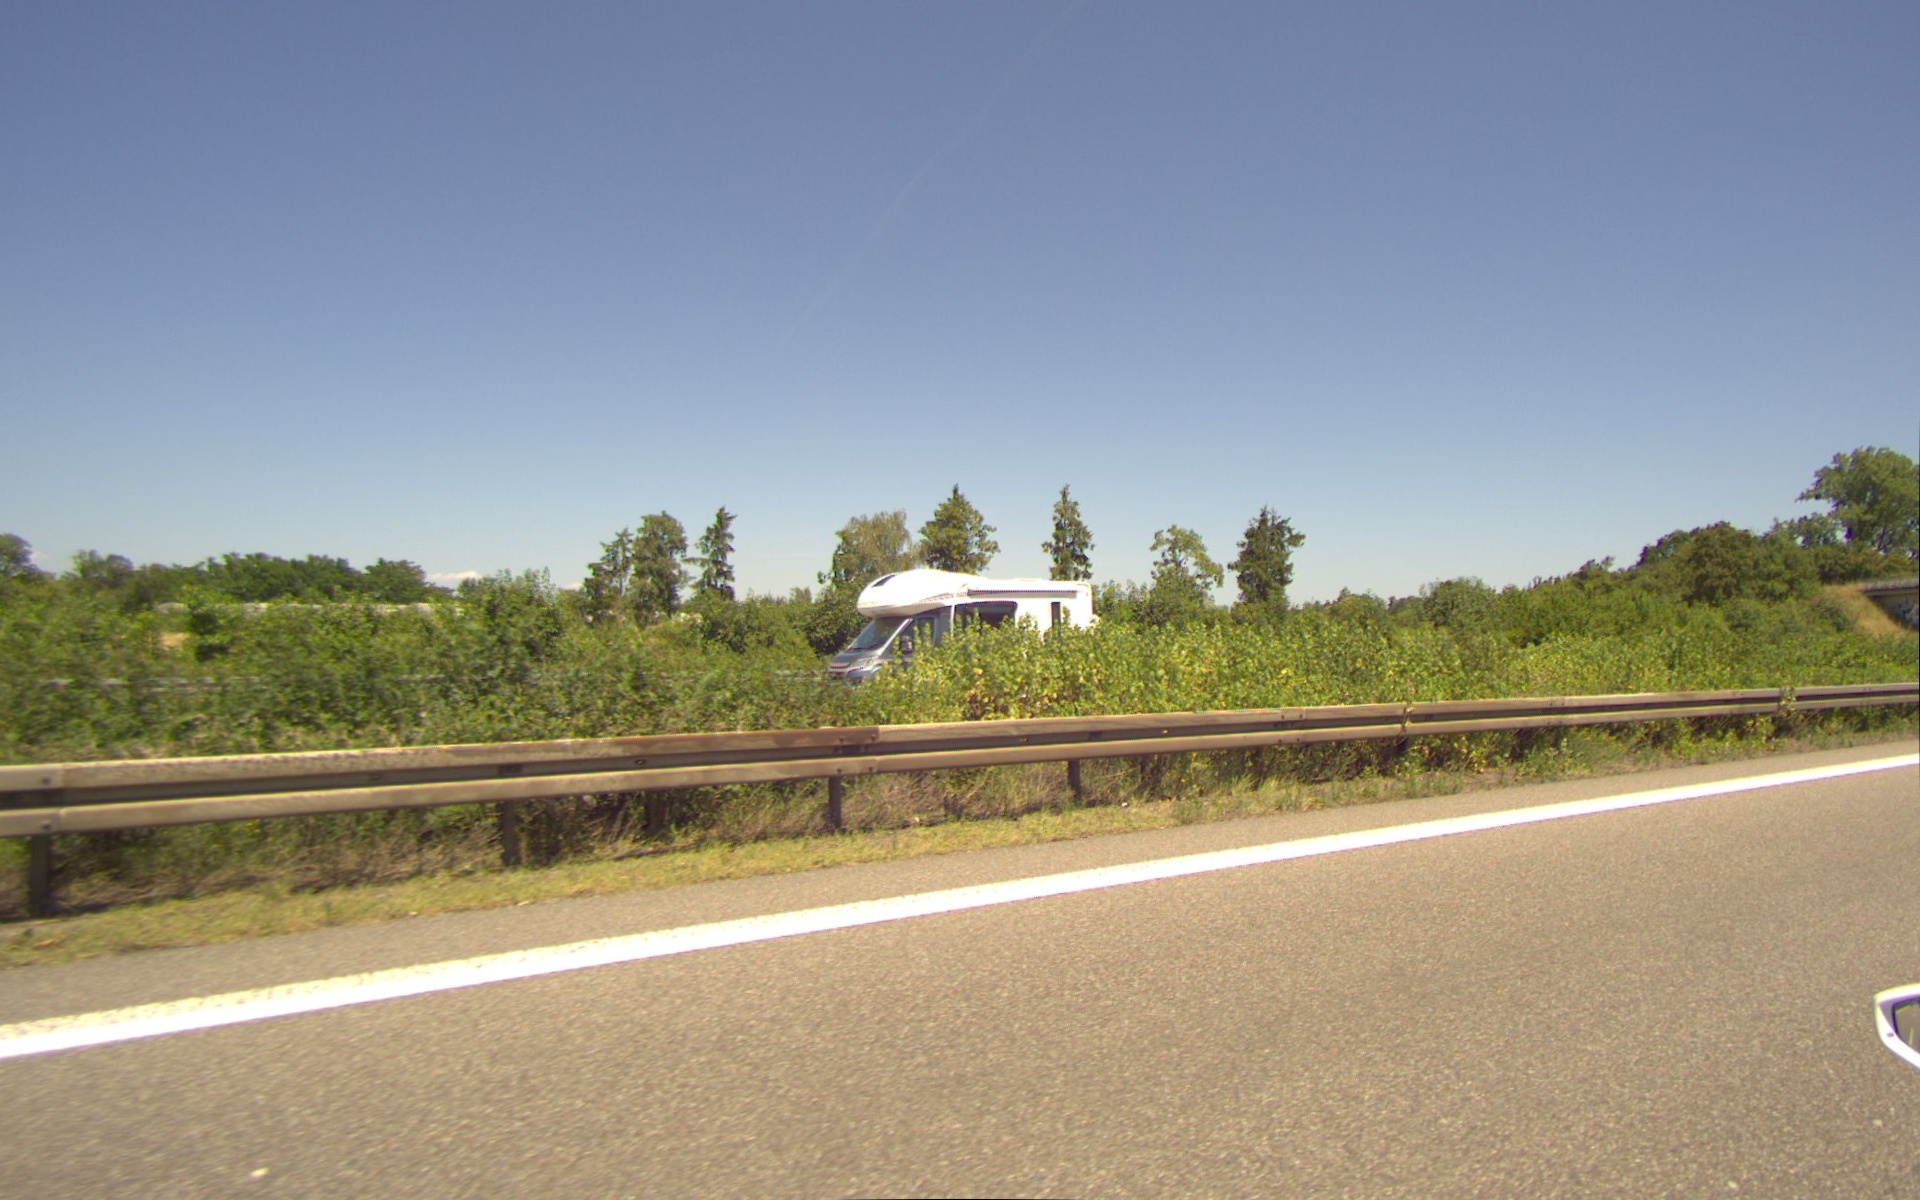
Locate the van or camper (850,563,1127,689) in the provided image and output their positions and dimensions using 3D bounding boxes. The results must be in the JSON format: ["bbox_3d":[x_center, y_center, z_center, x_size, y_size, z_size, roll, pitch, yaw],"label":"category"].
[{"bbox_3d":[0.749,0.587,22.988,6.225,2.579,1.984,1,0,-31],"label":"van or camper"}]
